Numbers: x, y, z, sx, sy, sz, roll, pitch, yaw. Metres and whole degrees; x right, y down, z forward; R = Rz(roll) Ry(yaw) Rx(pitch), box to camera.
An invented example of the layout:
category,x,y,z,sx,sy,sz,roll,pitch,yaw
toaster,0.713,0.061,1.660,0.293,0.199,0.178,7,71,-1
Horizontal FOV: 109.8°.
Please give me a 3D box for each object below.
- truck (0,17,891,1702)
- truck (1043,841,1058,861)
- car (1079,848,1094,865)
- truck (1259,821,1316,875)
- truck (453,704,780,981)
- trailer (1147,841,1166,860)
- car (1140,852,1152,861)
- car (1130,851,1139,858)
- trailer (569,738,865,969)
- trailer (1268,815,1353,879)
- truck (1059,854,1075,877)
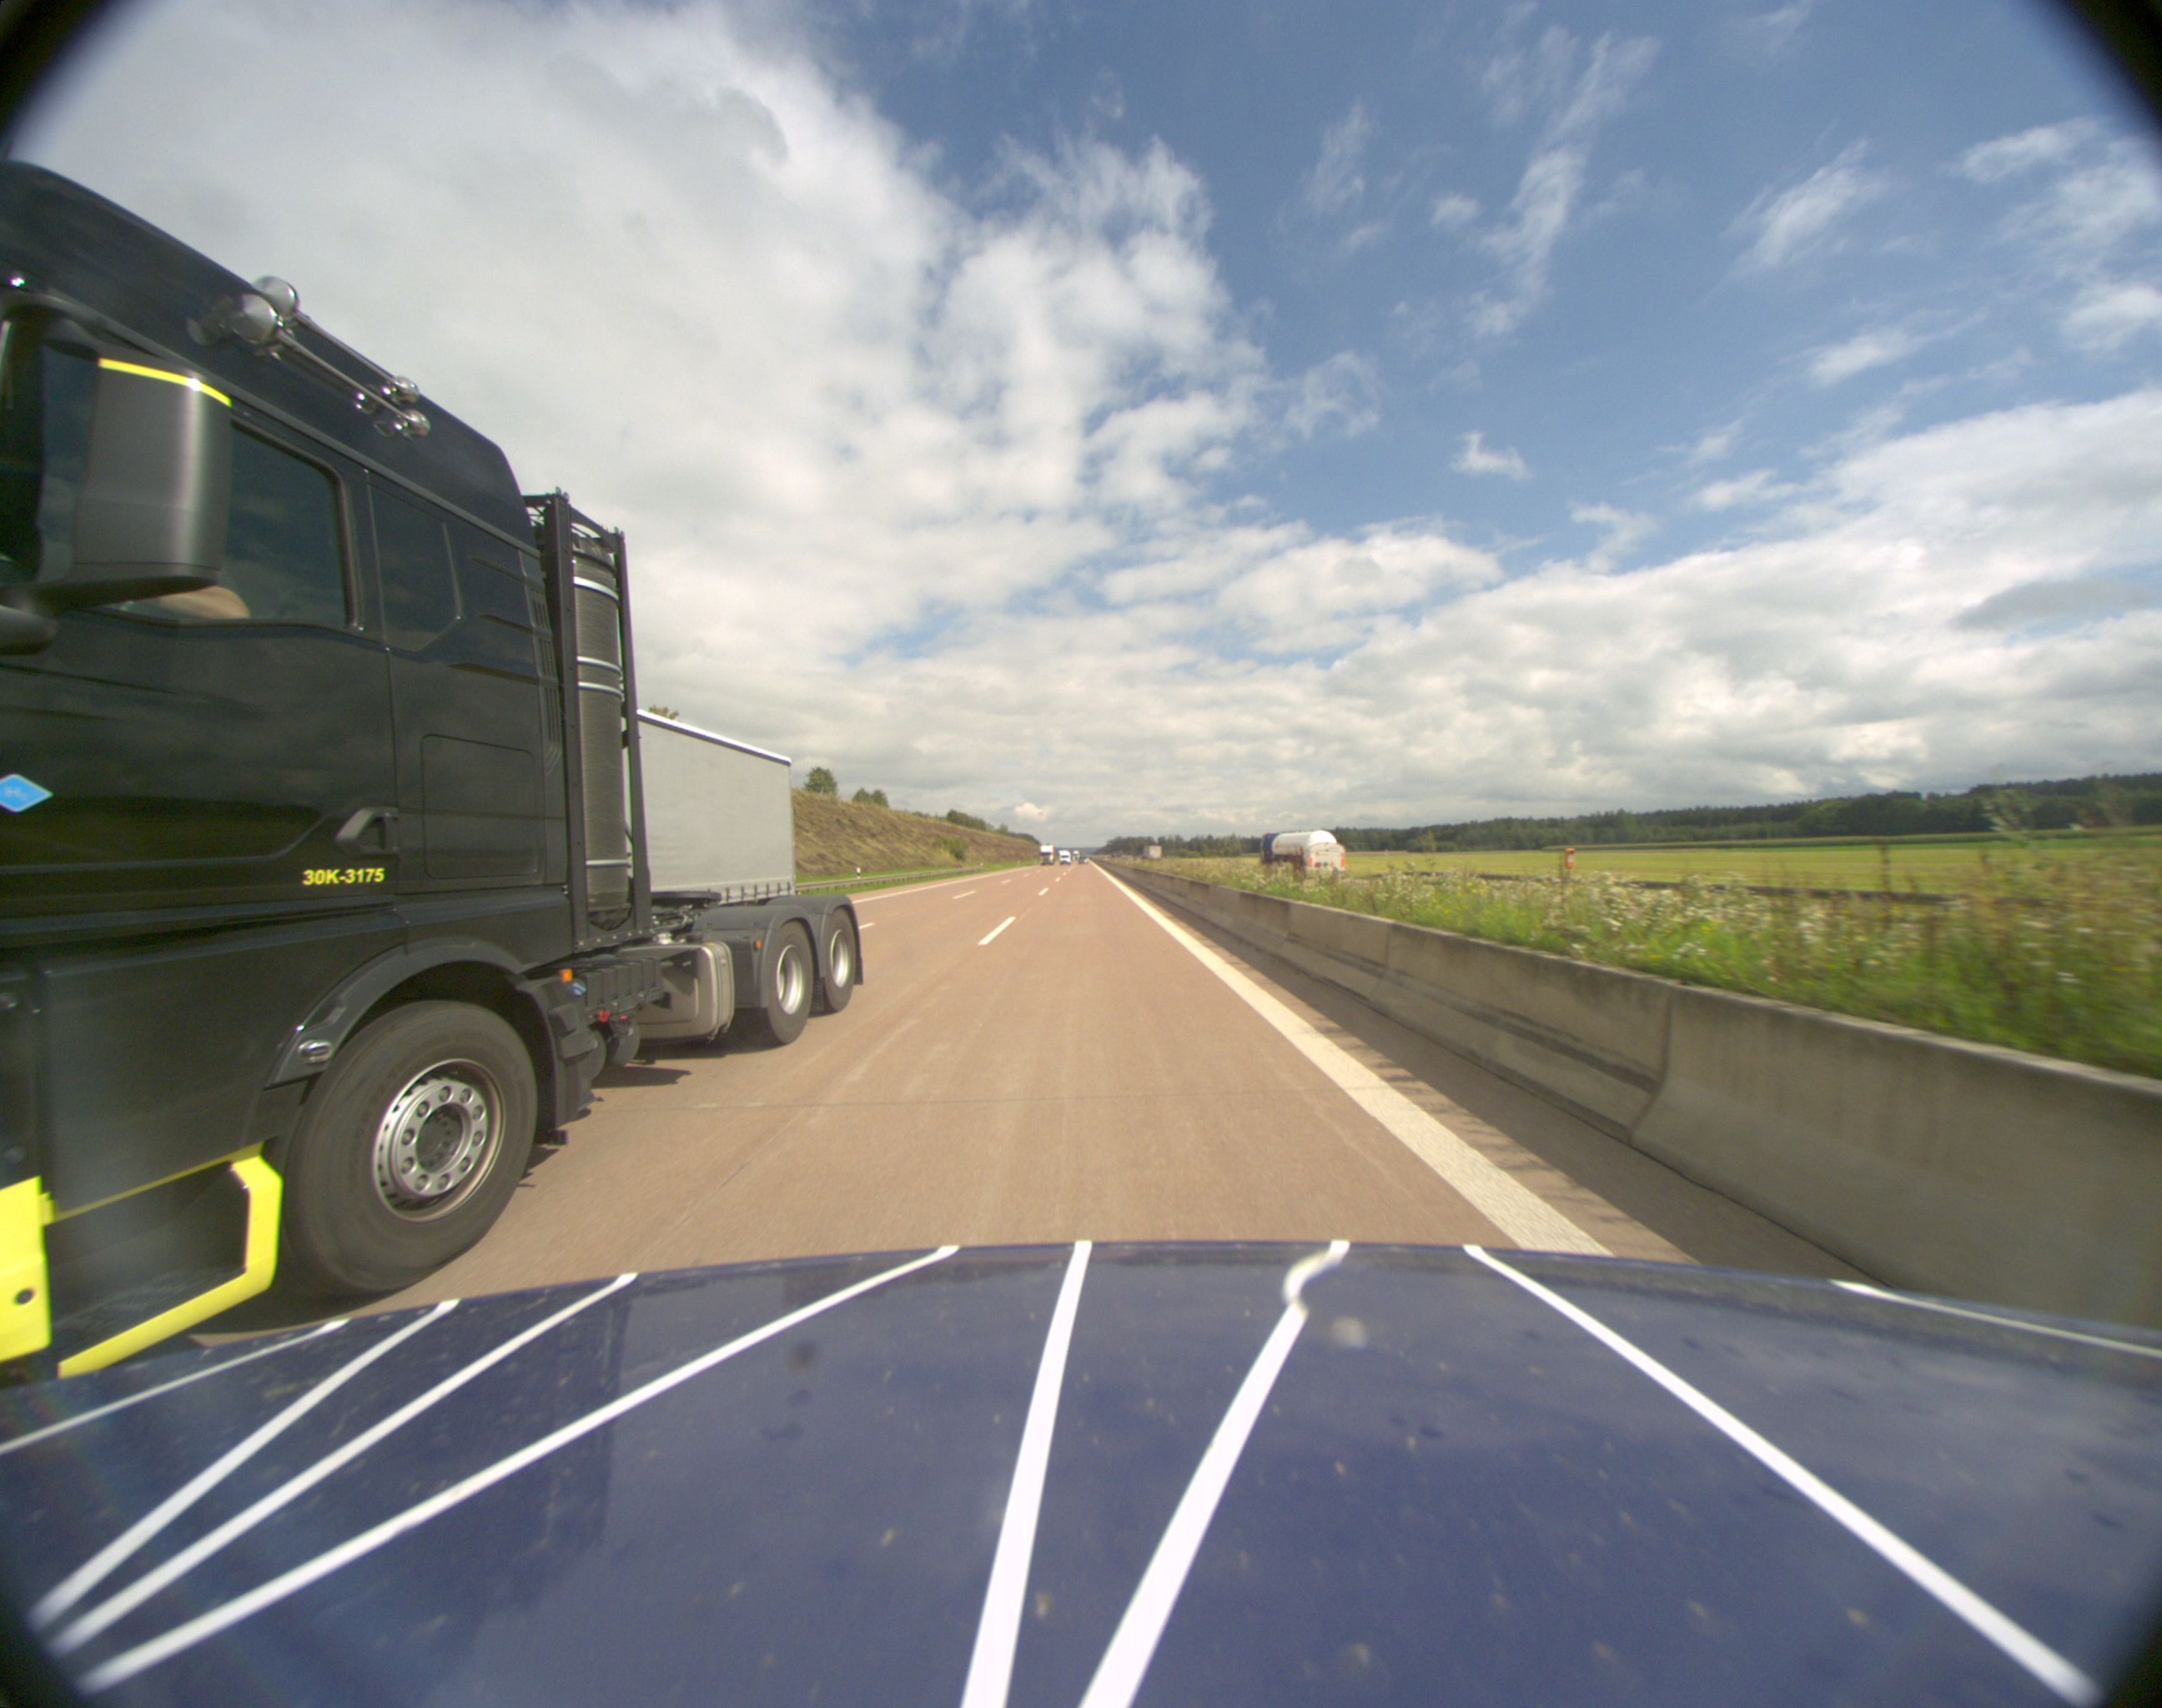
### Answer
category,x,y,z,sx,sy,sz,roll,pitch,yaw
truck,-3.754,-0.017,5.086,2.855,3.529,8.317,-2,1,-1
truck,-6.497,-0.634,162.286,2.681,4.081,6.616,-2,0,0
car,1.217,0.449,157.018,2.773,3.260,6.393,-3,0,1
truck,16.188,-0.458,60.039,2.899,4.075,6.335,1,0,1
truck,-7.548,-0.180,13.176,2.756,3.869,4.544,-2,1,-1
trailer,17.341,-0.787,175.960,3.215,4.074,13.259,-3,0,1
car,12.547,0.451,147.539,1.998,1.689,4.255,0,0,0
car,14.177,0.157,202.944,1.999,1.648,4.784,0,0,-1
trailer,-7.657,-0.045,17.777,2.755,3.989,8.668,-2,1,-1
trailer,16.061,-0.451,54.266,2.899,4.074,11.037,1,0,1
truck,-2.780,2.251,153.005,2.681,4.333,11.808,-3,0,0
